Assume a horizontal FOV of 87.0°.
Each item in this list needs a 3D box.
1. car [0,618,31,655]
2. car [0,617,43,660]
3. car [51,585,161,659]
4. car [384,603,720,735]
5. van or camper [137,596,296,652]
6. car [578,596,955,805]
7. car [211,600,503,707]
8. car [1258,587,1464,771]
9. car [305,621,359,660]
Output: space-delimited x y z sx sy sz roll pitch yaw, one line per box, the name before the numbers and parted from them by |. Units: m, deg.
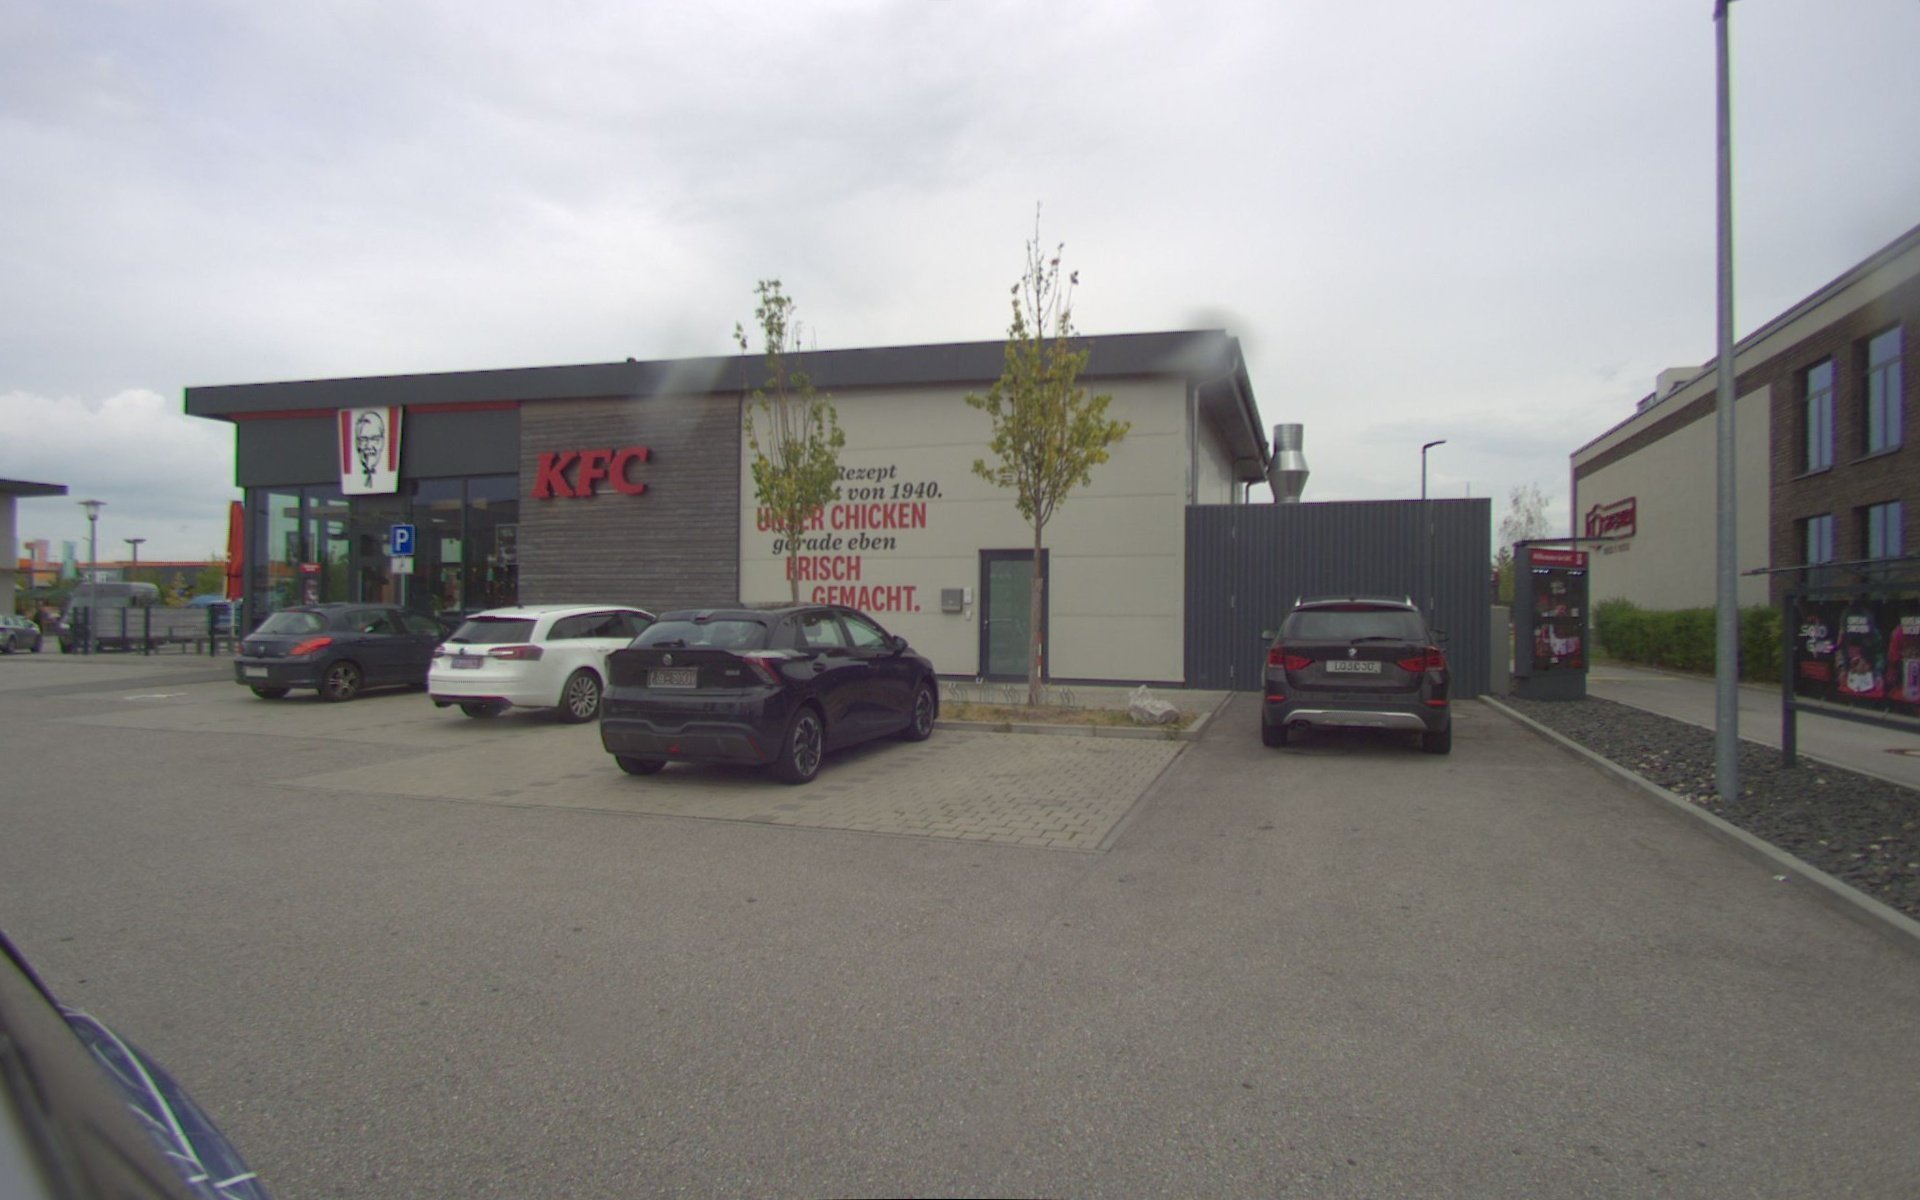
car | -41.075 1.539 41.499 4.041 1.478 1.785 0 -3 -30
car | -34.301 1.364 35.849 1.658 1.462 4.013 0 -2 -26
car | -32.321 0.872 38.547 2.038 2.573 7.034 0 -2 -30
car | -5.291 0.823 13.779 1.986 1.497 4.150 -1 -1 21
van or camper | -39.294 1.247 53.711 6.459 2.721 2.179 -1 -2 -22
car | -1.559 0.767 9.733 1.728 1.540 4.095 0 -1 20
car | -9.753 0.784 16.728 1.746 1.498 3.913 -1 0 21
car | 4.262 0.701 10.999 1.723 1.608 3.973 0 0 20
car | -29.645 1.877 47.703 1.966 1.741 4.909 2 -2 -34
